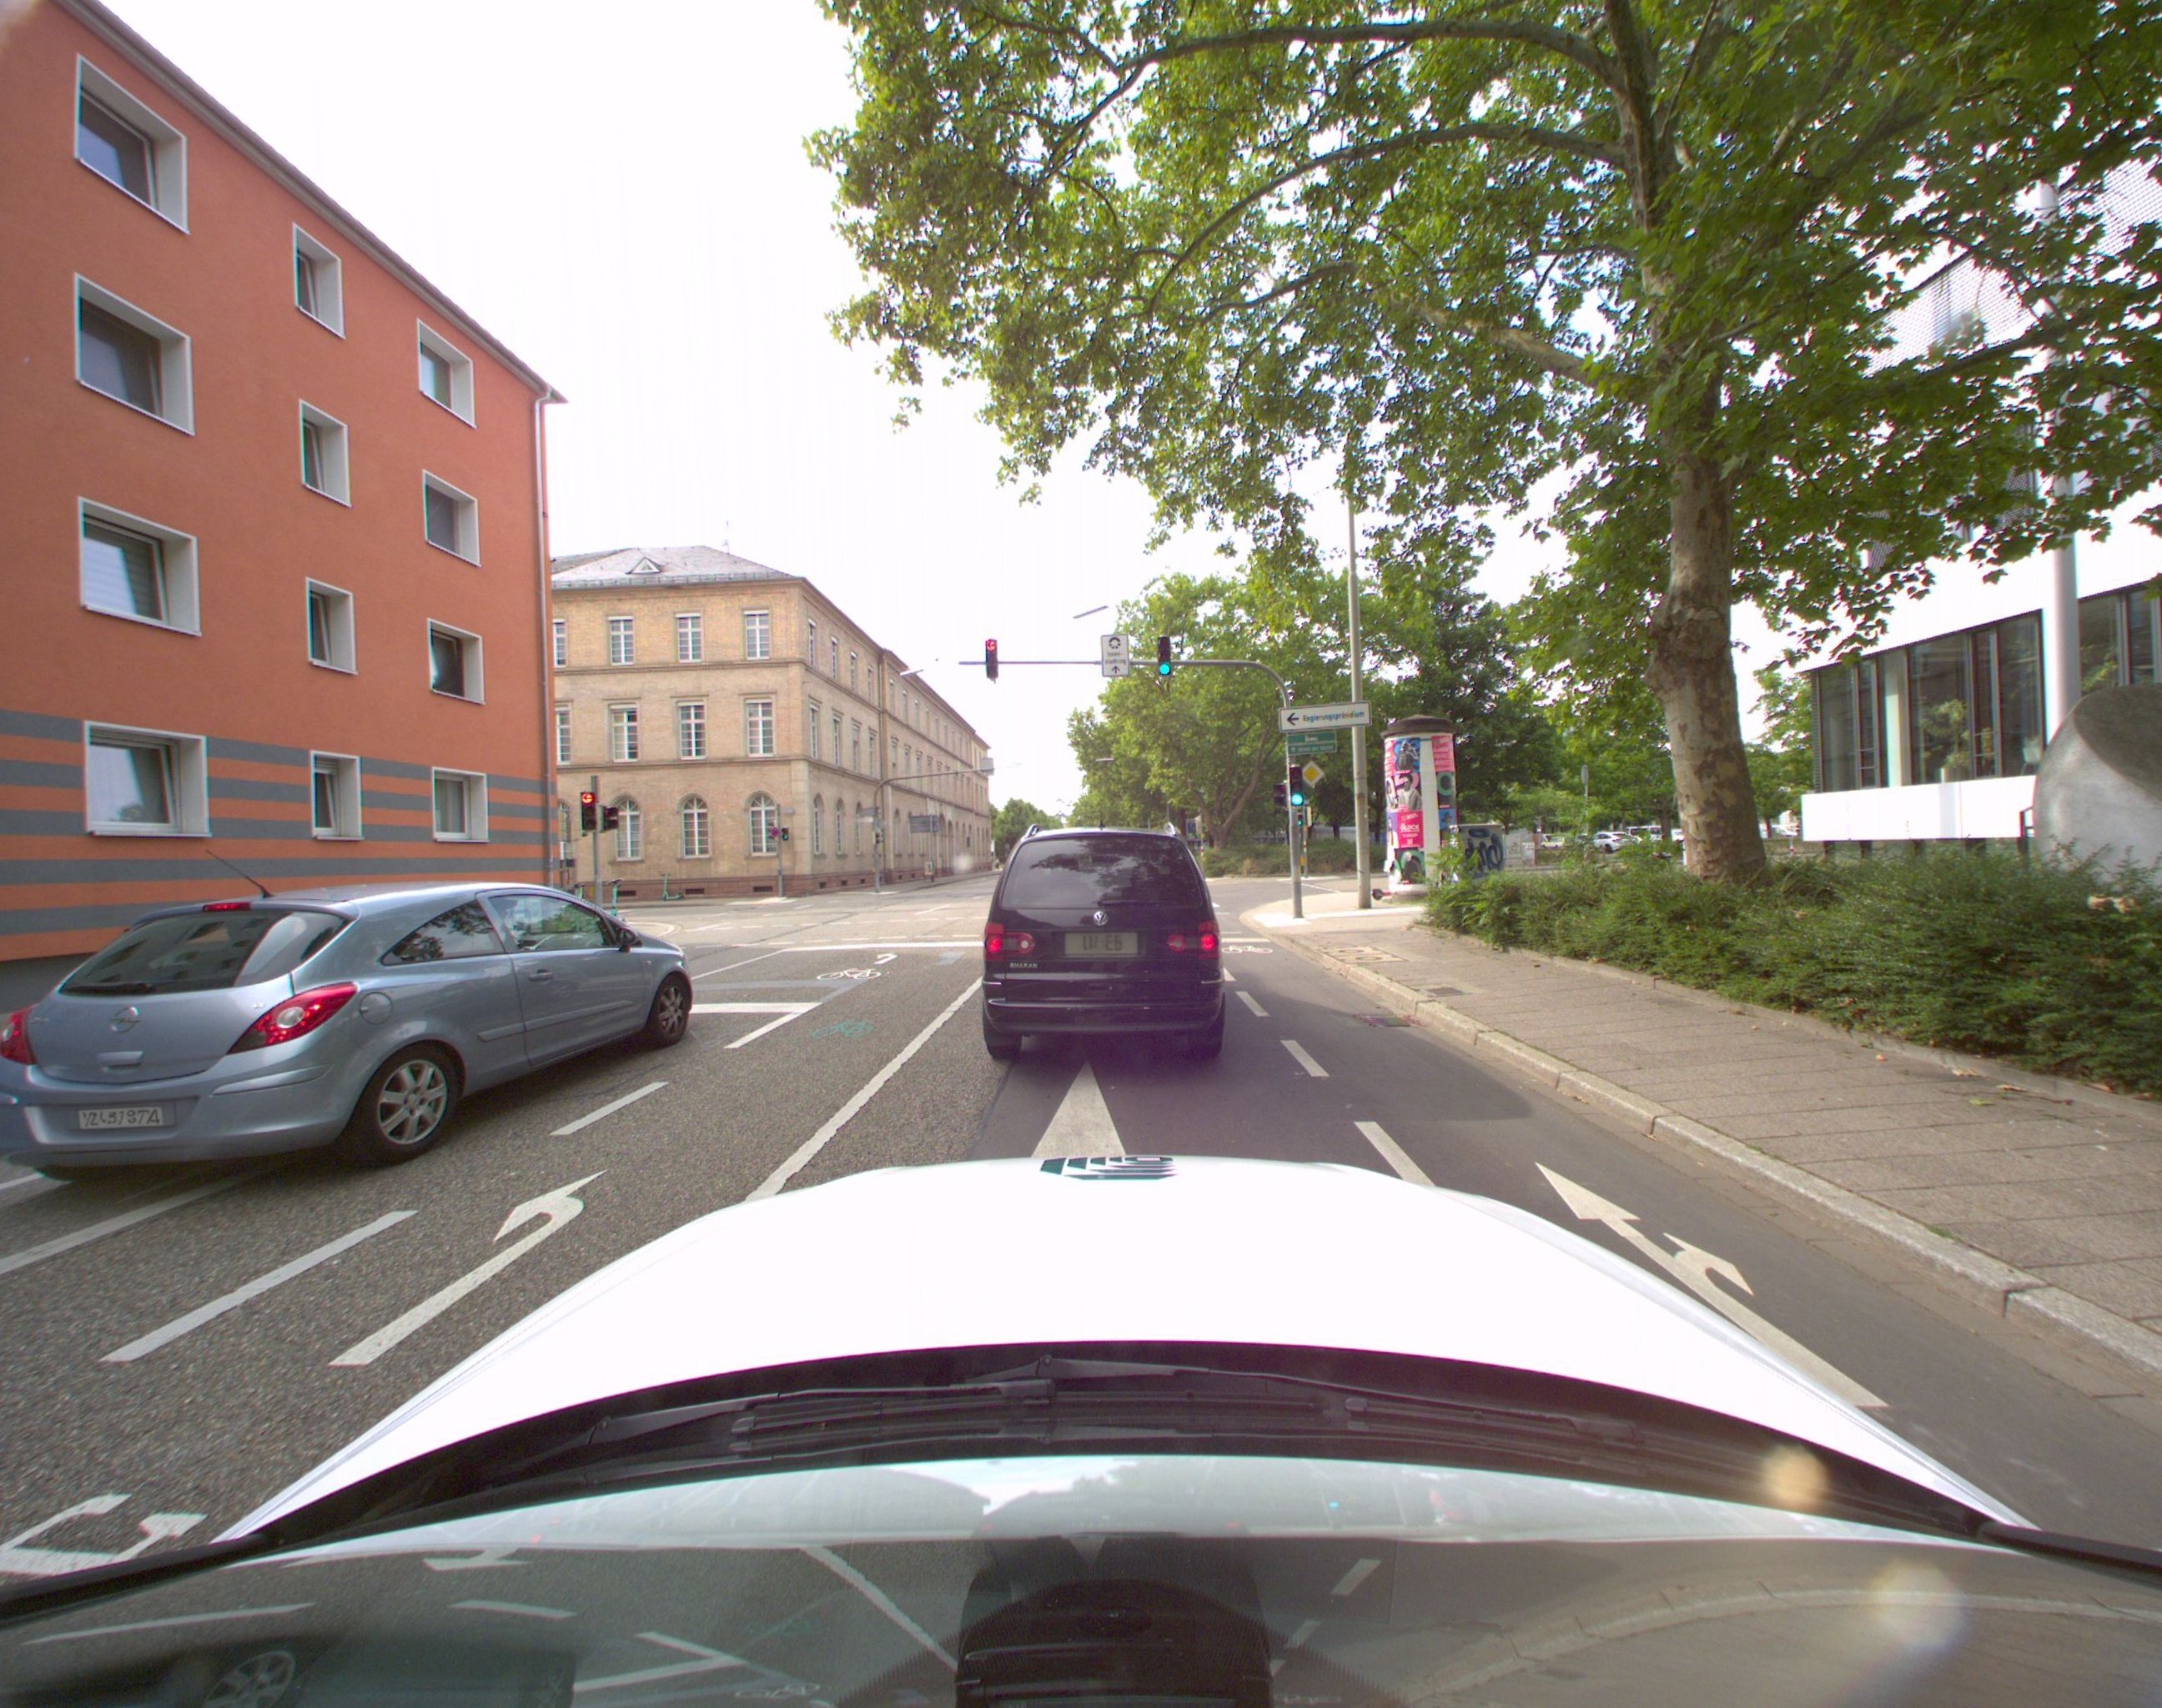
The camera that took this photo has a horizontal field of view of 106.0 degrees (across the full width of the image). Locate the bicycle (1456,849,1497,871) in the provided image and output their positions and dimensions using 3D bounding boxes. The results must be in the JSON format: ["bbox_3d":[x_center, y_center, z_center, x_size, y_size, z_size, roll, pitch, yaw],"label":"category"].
[{"bbox_3d":[16.772,0.254,34.539,1.465,0.885,0.555,-2,0,1],"label":"bicycle"}]

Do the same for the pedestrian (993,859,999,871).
[{"bbox_3d":[-10.177,1.272,97.430,0.555,1.435,0.579,-2,0,1],"label":"pedestrian"}]

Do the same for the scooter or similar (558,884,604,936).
[{"bbox_3d":[-11.615,1.276,18.945,0.377,1.147,1.141,-2,-2,-1],"label":"scooter or similar"}]

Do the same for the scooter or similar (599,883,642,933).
[{"bbox_3d":[-11.007,1.270,19.474,0.377,1.144,1.141,-2,-2,-1],"label":"scooter or similar"}]

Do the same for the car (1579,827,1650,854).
[{"bbox_3d":[35.418,-0.888,54.200,1.955,1.651,4.152,-2,0,0],"label":"car"}]

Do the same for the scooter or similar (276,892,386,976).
[{"bbox_3d":[-11.678,1.215,12.726,0.376,1.184,1.390,-2,-1,2],"label":"scooter or similar"}]

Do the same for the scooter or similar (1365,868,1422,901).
[{"bbox_3d":[7.567,0.735,19.752,1.214,0.736,0.369,-2,0,1],"label":"scooter or similar"}]

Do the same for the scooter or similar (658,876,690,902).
[{"bbox_3d":[-17.207,1.494,34.465,1.134,1.049,0.379,-2,-2,1],"label":"scooter or similar"}]

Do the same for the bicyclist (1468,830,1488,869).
[{"bbox_3d":[16.824,-0.207,34.530,0.566,1.618,0.536,-2,0,1],"label":"bicyclist"}]

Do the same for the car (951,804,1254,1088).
[{"bbox_3d":[0.205,0.570,7.447,1.867,1.745,4.575,-2,0,2],"label":"car"}]

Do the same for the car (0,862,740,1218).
[{"bbox_3d":[-4.224,0.849,5.700,1.706,1.420,4.255,-4,0,1],"label":"car"}]
